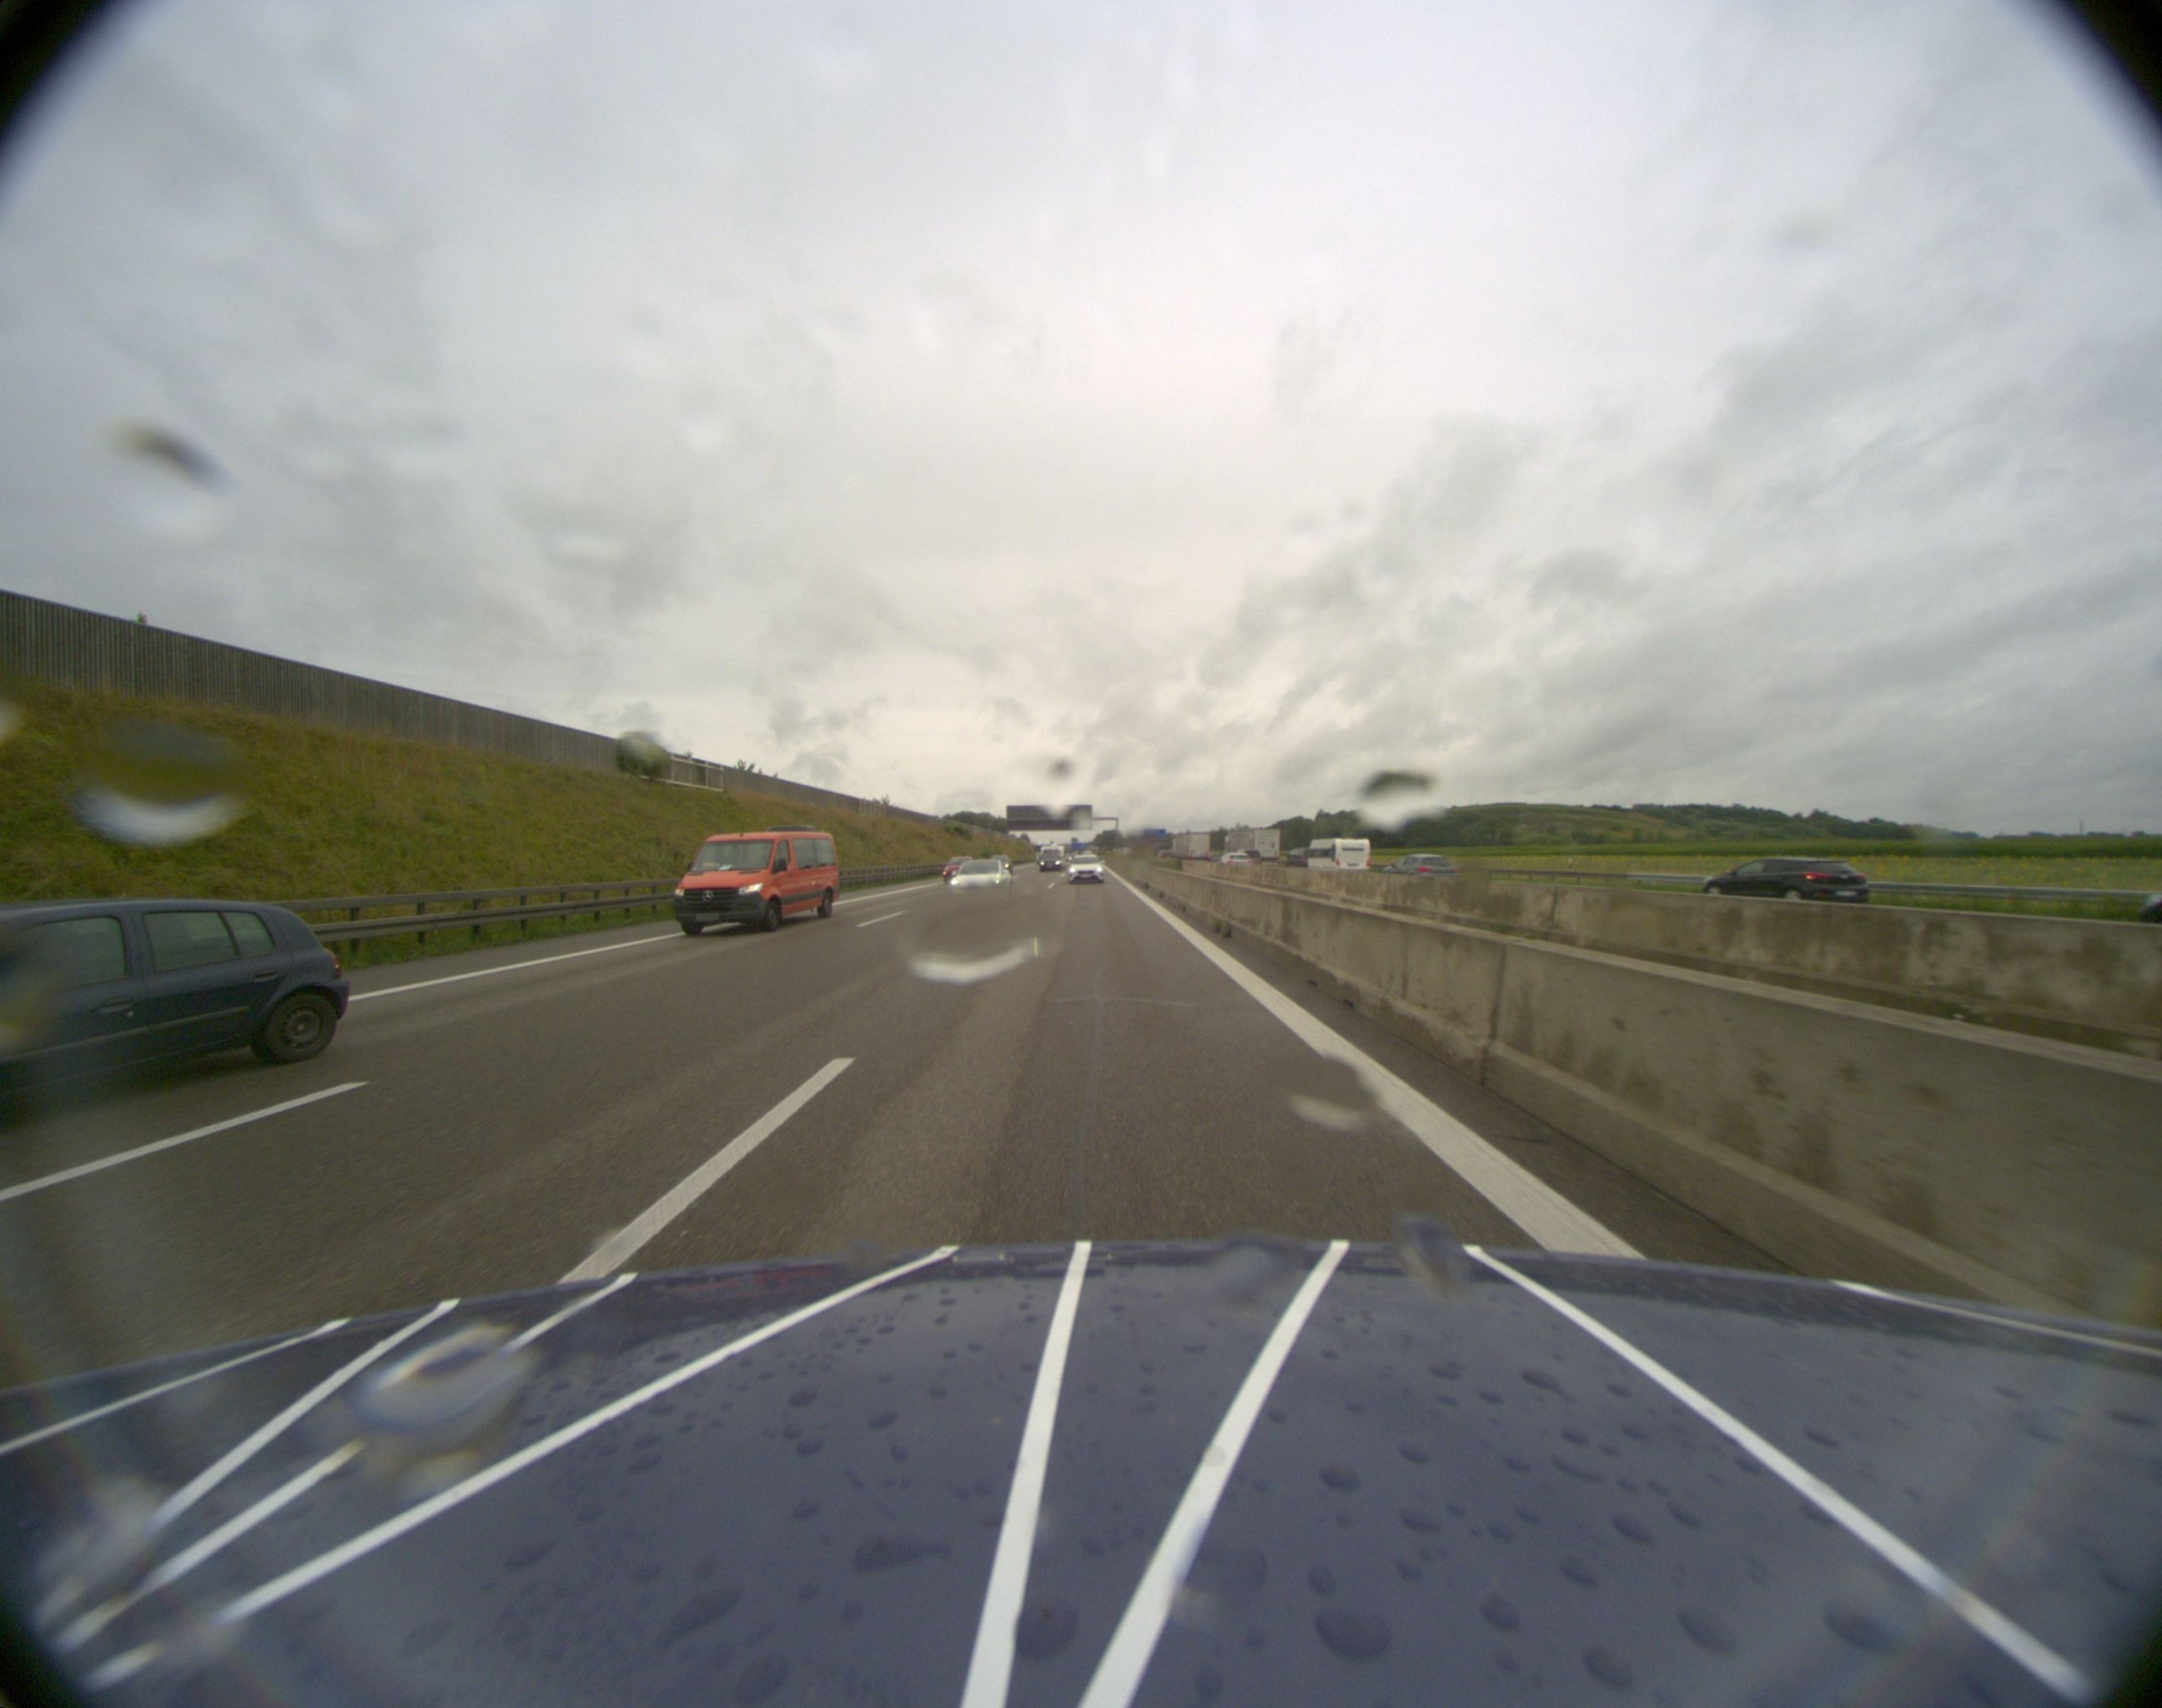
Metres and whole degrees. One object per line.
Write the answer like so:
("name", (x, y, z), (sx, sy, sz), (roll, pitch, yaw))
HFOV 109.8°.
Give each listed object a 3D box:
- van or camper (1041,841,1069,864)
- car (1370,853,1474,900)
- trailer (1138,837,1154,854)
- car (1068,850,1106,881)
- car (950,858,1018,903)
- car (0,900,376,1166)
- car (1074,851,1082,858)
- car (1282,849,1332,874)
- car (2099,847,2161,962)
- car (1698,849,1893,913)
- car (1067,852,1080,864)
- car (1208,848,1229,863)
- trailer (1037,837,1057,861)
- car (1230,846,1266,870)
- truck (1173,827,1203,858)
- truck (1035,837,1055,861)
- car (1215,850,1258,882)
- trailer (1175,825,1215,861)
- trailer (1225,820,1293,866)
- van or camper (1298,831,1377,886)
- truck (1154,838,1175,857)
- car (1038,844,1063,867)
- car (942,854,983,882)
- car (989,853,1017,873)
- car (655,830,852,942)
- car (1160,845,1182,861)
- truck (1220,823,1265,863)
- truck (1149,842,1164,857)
("van or camper", (-2.617, -0.160, 77.841), (2.432, 2.139, 6.497), (-3, 1, 1))
("car", (13.653, 0.845, 30.780), (2.066, 1.700, 4.799), (-2, 0, 0))
("trailer", (19.255, -2.473, 226.599), (3.396, 4.741, 11.679), (-3, 0, 0))
("car", (0.335, 0.570, 40.050), (1.841, 1.455, 3.999), (-3, 1, 1))
("car", (-3.529, 0.928, 28.568), (1.878, 1.355, 4.812), (-3, 1, 0))
("car", (-7.249, 1.175, 4.897), (1.706, 1.393, 3.874), (-3, 1, 0))
("car", (-0.811, 0.190, 196.762), (1.998, 1.696, 3.999), (-3, 1, 1))
("car", (17.886, 0.560, 60.312), (2.097, 1.743, 5.133), (-4, 0, -3))
("car", (17.217, 0.755, 9.689), (2.098, 1.700, 4.800), (-2, 0, 2))
("car", (20.703, 0.704, 22.287), (1.889, 1.586, 3.999), (-3, 1, -1))
("car", (-1.273, 0.650, 123.598), (1.999, 1.759, 3.999), (-1, 0, -2))
("car", (18.330, 0.180, 101.440), (1.998, 2.002, 4.621), (-1, 0, 1))
("trailer", (-6.272, -1.034, 141.485), (3.089, 4.003, 15.218), (-3, 1, -1))
("car", (13.869, 0.308, 63.333), (1.888, 1.913, 5.277), (-1, 0, 0))
("truck", (14.215, -1.527, 101.661), (3.100, 3.953, 6.371), (-3, 1, 1))
("truck", (-6.189, -0.924, 133.086), (3.090, 4.003, 6.955), (-3, 1, -1))
("car", (9.693, 0.729, 47.652), (1.888, 1.913, 4.173), (-1, 1, 0))
("trailer", (14.102, -1.392, 95.094), (3.093, 4.065, 12.328), (-3, 1, 1))
("trailer", (18.679, -1.203, 81.386), (3.722, 4.247, 15.622), (-3, 1, 1))
("van or camper", (18.131, 0.245, 54.272), (2.716, 3.483, 7.697), (-3, 1, -1))
("truck", (20.376, -1.563, 186.989), (3.521, 4.458, 11.784), (-3, 1, -1))
("car", (-2.847, 0.125, 72.410), (1.998, 2.002, 4.937), (-3, 1, 1))
("car", (-7.356, 0.864, 47.458), (1.878, 1.526, 3.999), (-3, 1, 0))
("car", (-6.615, 0.736, 64.874), (1.929, 1.480, 4.485), (-3, 1, 0))
("car", (-7.800, 0.661, 19.009), (2.091, 2.302, 6.181), (-2, 0, 1))
("car", (10.441, -0.152, 88.043), (1.998, 1.754, 5.071), (0, 0, 1))
("truck", (18.792, -1.303, 88.794), (3.624, 4.250, 7.590), (-3, 1, 1))
("truck", (15.456, -0.925, 155.390), (2.317, 2.892, 7.423), (-3, 1, 1))
